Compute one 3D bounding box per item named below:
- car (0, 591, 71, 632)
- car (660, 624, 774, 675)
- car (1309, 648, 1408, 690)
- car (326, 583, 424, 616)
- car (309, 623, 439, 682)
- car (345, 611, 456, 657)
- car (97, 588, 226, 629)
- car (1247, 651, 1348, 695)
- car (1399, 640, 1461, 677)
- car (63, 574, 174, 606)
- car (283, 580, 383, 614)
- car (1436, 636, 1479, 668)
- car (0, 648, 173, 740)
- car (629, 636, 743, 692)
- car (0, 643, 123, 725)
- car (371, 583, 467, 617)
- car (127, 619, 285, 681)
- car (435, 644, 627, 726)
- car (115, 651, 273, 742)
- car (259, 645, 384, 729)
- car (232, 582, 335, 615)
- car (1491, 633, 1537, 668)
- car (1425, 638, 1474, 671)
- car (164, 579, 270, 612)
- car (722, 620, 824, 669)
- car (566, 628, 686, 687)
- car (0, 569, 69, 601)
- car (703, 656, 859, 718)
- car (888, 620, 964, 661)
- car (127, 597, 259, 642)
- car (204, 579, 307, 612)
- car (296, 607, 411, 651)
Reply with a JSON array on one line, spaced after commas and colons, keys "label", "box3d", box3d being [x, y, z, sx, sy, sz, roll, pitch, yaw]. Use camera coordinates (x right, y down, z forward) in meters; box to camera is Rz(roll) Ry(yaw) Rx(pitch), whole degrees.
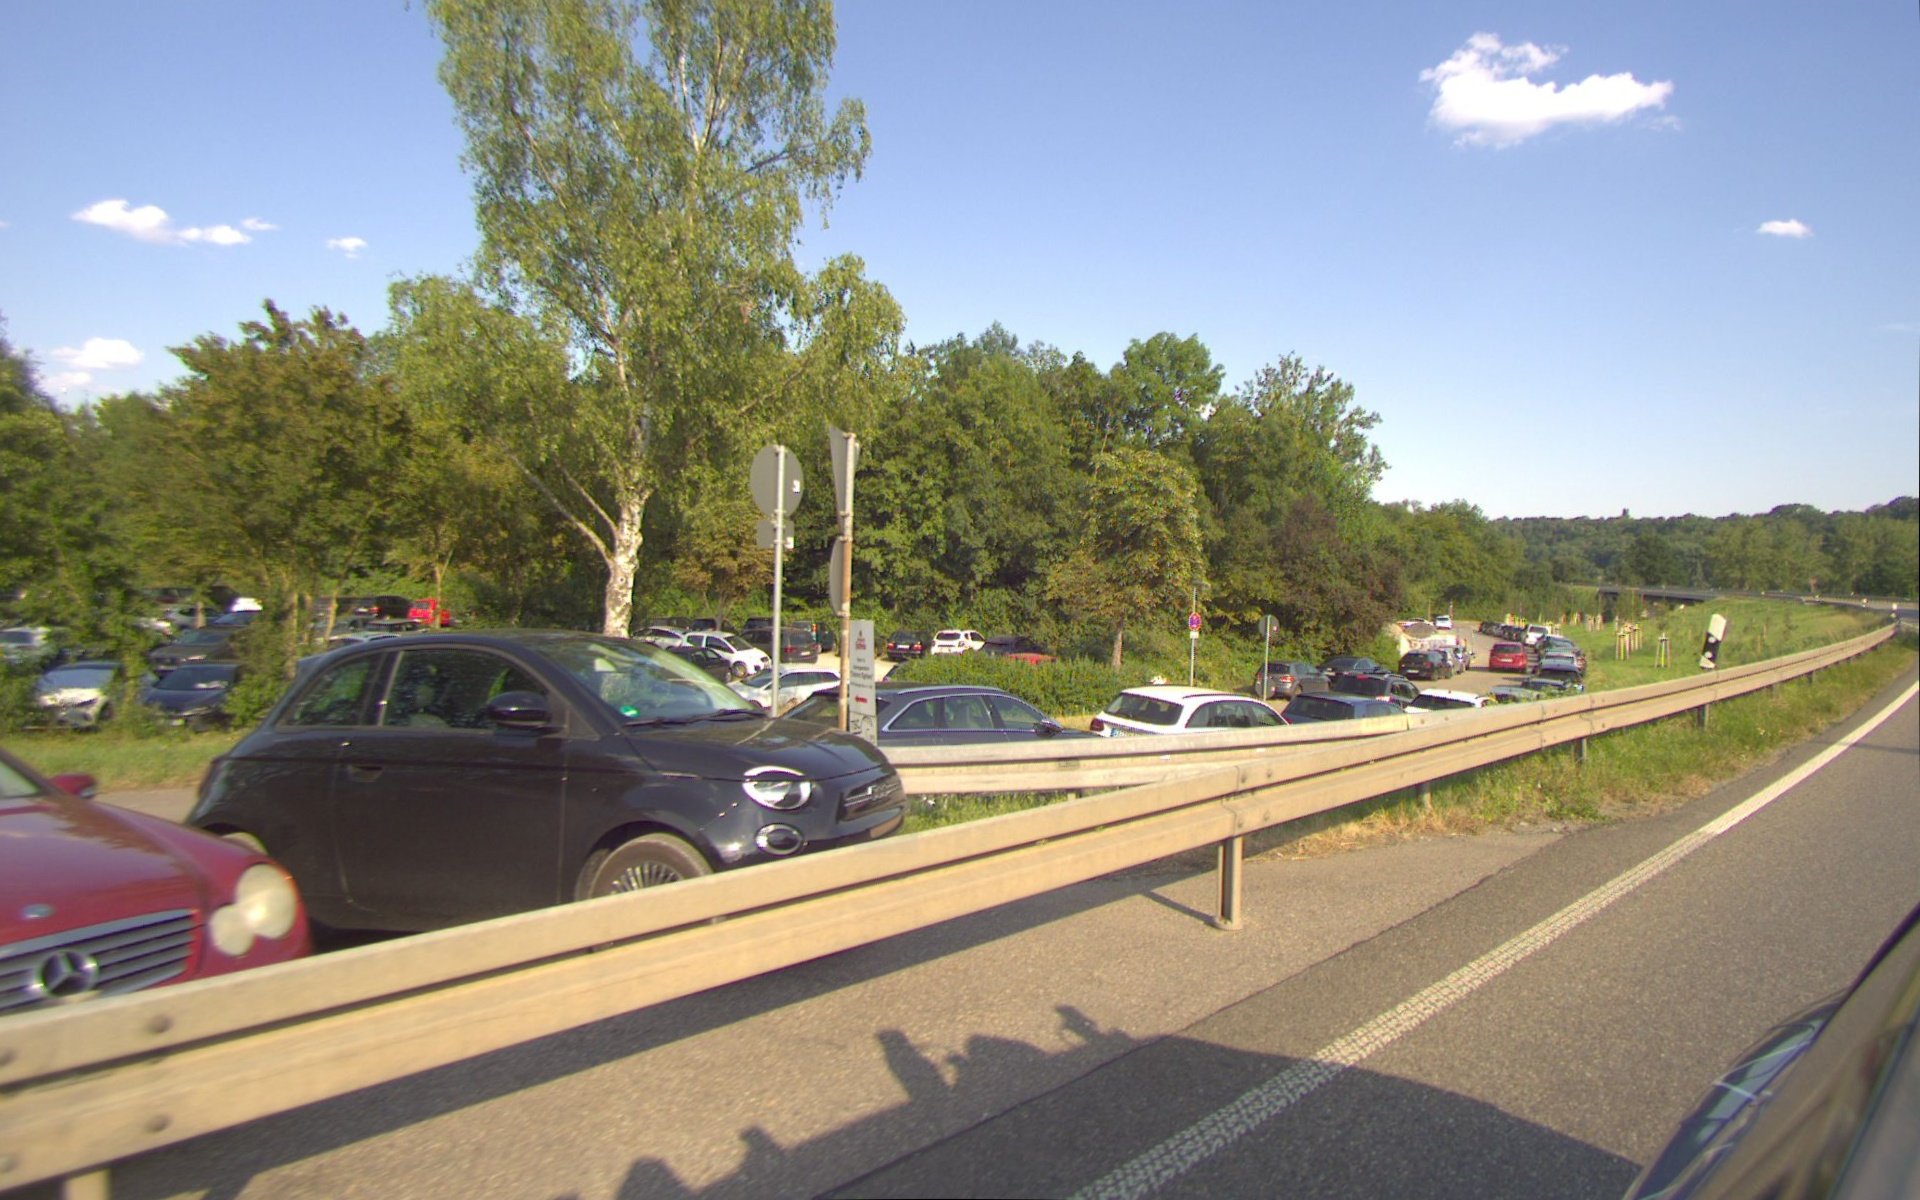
[{"label": "car", "box3d": [-41.196, 0.476, 43.385, 1.773, 1.712, 4.587, 1, 1, 8]}, {"label": "car", "box3d": [-9.323, 1.864, 38.823, 4.102, 1.692, 1.642, 1, 1, 22]}, {"label": "car", "box3d": [16.823, 2.864, 42.635, 4.697, 1.415, 1.706, 1, 3, -38]}, {"label": "car", "box3d": [-31.577, -0.064, 54.776, 1.780, 1.712, 4.569, 1, 1, 18]}, {"label": "car", "box3d": [-19.982, 1.733, 34.777, 1.770, 1.712, 4.596, 1, 1, 1]}, {"label": "car", "box3d": [-23.814, 1.407, 43.286, 1.773, 1.712, 4.587, 1, 1, 8]}, {"label": "car", "box3d": [-35.326, 0.320, 44.946, 1.773, 1.712, 4.587, 1, 1, 8]}, {"label": "car", "box3d": [12.970, 2.777, 38.801, 4.025, 1.416, 1.706, 3, 2, -39]}, {"label": "car", "box3d": [23.595, 2.907, 50.687, 1.699, 1.415, 4.718, 5, 3, 38]}, {"label": "car", "box3d": [-46.960, -0.570, 56.610, 1.780, 1.712, 4.569, 1, 1, 18]}, {"label": "car", "box3d": [-34.039, -0.188, 55.076, 1.780, 1.712, 4.569, 1, 1, 18]}, {"label": "car", "box3d": [28.736, 2.950, 58.406, 1.695, 1.528, 3.898, 2, 2, 33]}, {"label": "car", "box3d": [-21.172, 2.181, 24.633, 1.765, 1.712, 4.607, 1, 1, -19]}, {"label": "car", "box3d": [-9.433, 2.161, 35.294, 1.778, 1.562, 4.575, 1, 1, 15]}, {"label": "car", "box3d": [-23.692, 2.080, 25.252, 1.769, 1.712, 4.596, 1, 1, 1]}, {"label": "car", "box3d": [-28.769, -0.010, 54.001, 1.780, 1.712, 4.569, 1, 1, 18]}, {"label": "car", "box3d": [-24.731, 1.583, 33.451, 1.770, 1.712, 4.596, 1, 1, 1]}, {"label": "car", "box3d": [-11.232, 2.173, 26.705, 4.500, 1.865, 1.807, 0, 1, -23]}, {"label": "car", "box3d": [-18.761, 2.269, 25.052, 1.765, 1.712, 4.607, 1, 1, -19]}, {"label": "car", "box3d": [-16.589, 2.179, 26.530, 1.765, 1.712, 4.607, 1, 1, -19]}, {"label": "car", "box3d": [-37.027, -0.116, 55.538, 1.780, 1.712, 4.569, 1, 1, 18]}, {"label": "car", "box3d": [31.859, 2.862, 58.130, 1.885, 1.708, 5.024, 3, 1, 33]}, {"label": "car", "box3d": [26.619, 2.927, 55.006, 1.697, 1.415, 3.895, 5, 3, 35]}, {"label": "car", "box3d": [-41.113, -0.256, 56.115, 1.780, 1.712, 4.569, 1, 1, 18]}, {"label": "car", "box3d": [-7.717, 1.781, 41.644, 4.124, 1.775, 1.795, 1, 1, 35]}, {"label": "car", "box3d": [-11.623, 1.949, 35.597, 1.778, 1.712, 4.575, 1, 1, 15]}, {"label": "car", "box3d": [-52.641, -0.844, 56.162, 1.780, 1.712, 4.569, 1, 1, 18]}, {"label": "car", "box3d": [-5.251, 2.499, 29.866, 4.211, 1.505, 1.694, 1, 1, -36]}, {"label": "car", "box3d": [-1.513, 1.824, 47.190, 1.874, 1.578, 4.752, 4, 1, 19]}, {"label": "car", "box3d": [-32.474, 0.769, 43.043, 1.773, 1.712, 4.587, 1, 1, 8]}, {"label": "car", "box3d": [-38.923, -0.265, 56.069, 1.780, 1.712, 4.569, 1, 1, 18]}, {"label": "car", "box3d": [-26.117, 1.202, 43.767, 1.773, 1.712, 4.587, 1, 1, 8]}]
